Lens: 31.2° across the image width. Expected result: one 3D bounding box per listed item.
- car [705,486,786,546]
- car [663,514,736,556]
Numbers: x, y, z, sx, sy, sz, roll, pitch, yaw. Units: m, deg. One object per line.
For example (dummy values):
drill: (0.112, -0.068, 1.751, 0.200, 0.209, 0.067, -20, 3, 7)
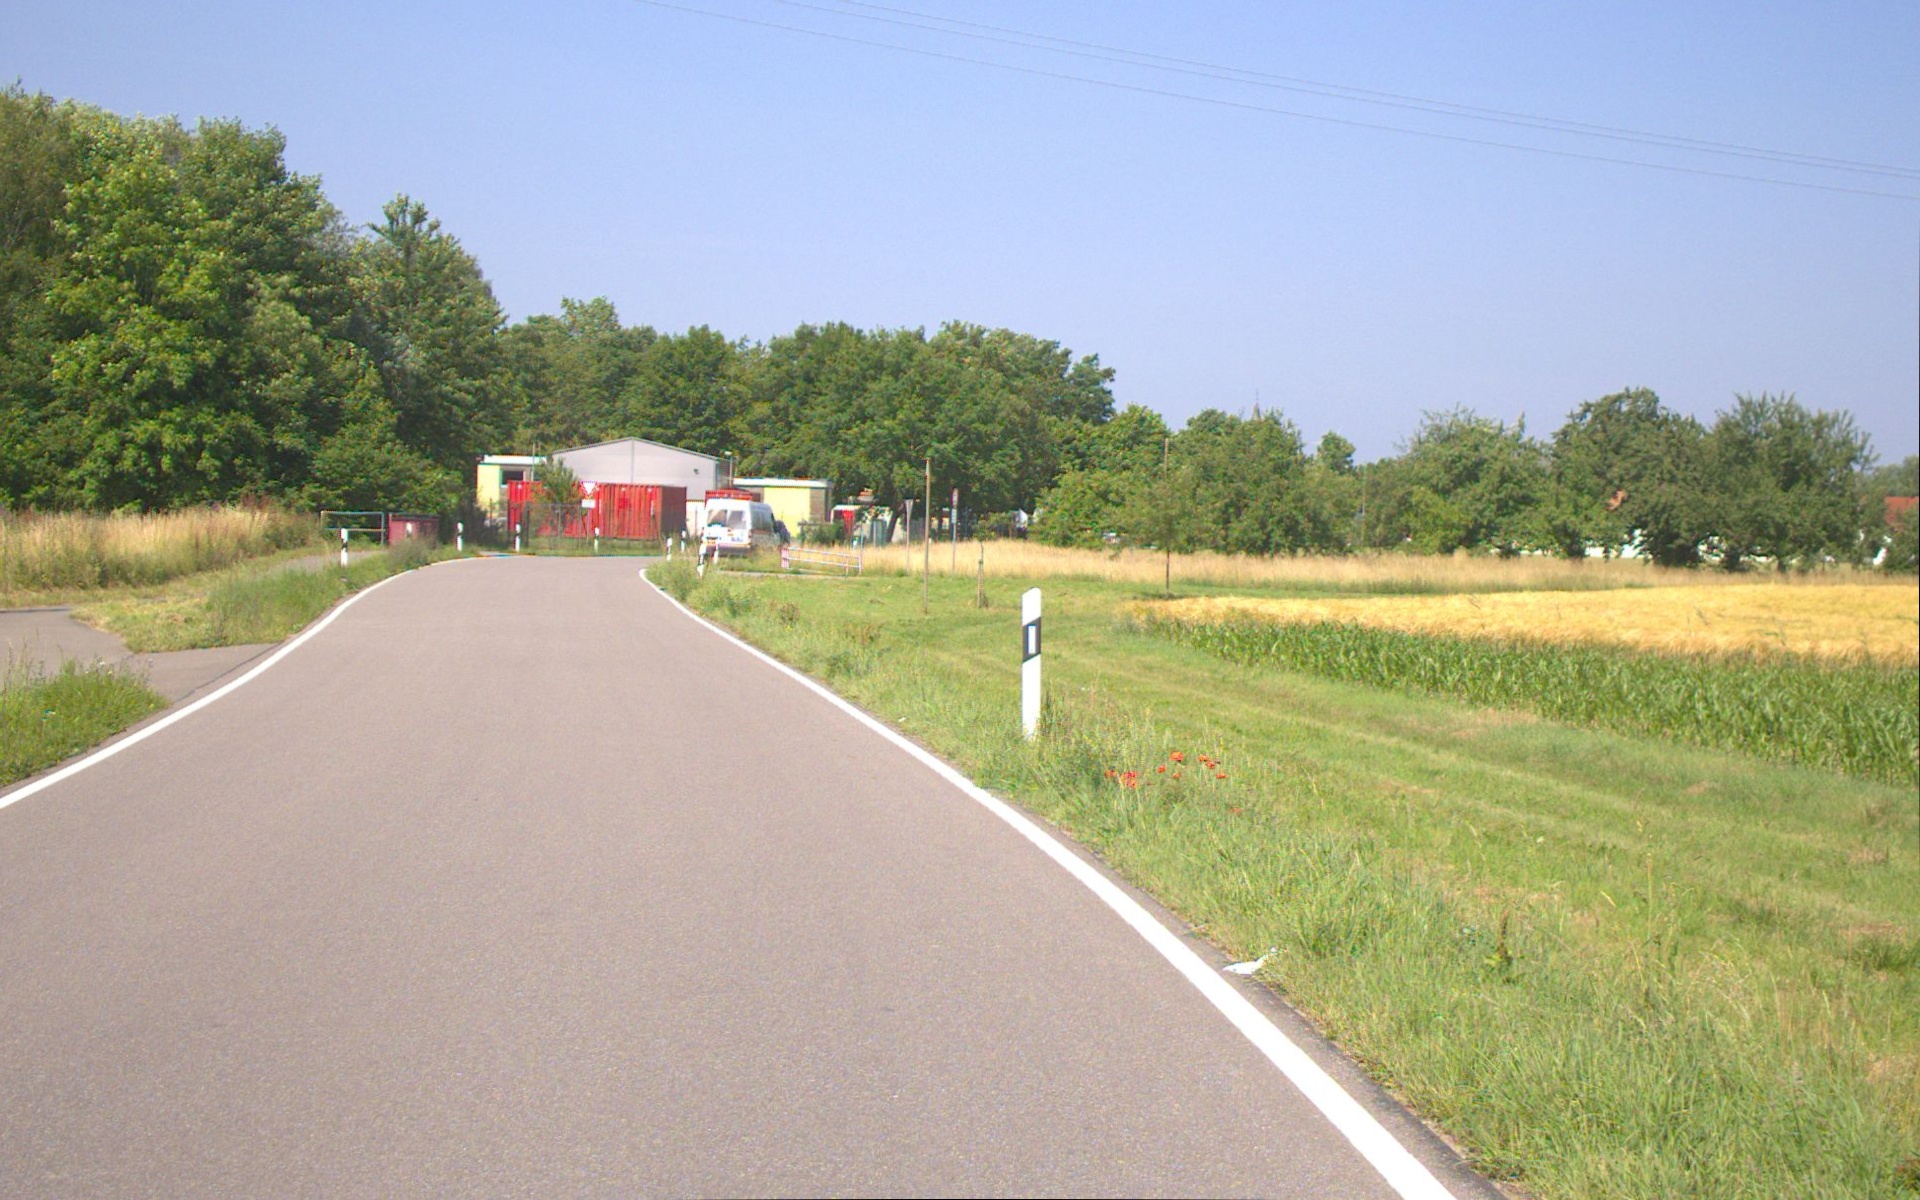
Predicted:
car: (-8.380, -3.263, 134.675, 1.994, 2.258, 4.724, 2, 1, 11)
car: (-11.184, -2.792, 147.830, 1.867, 1.747, 4.294, 2, 1, 14)
